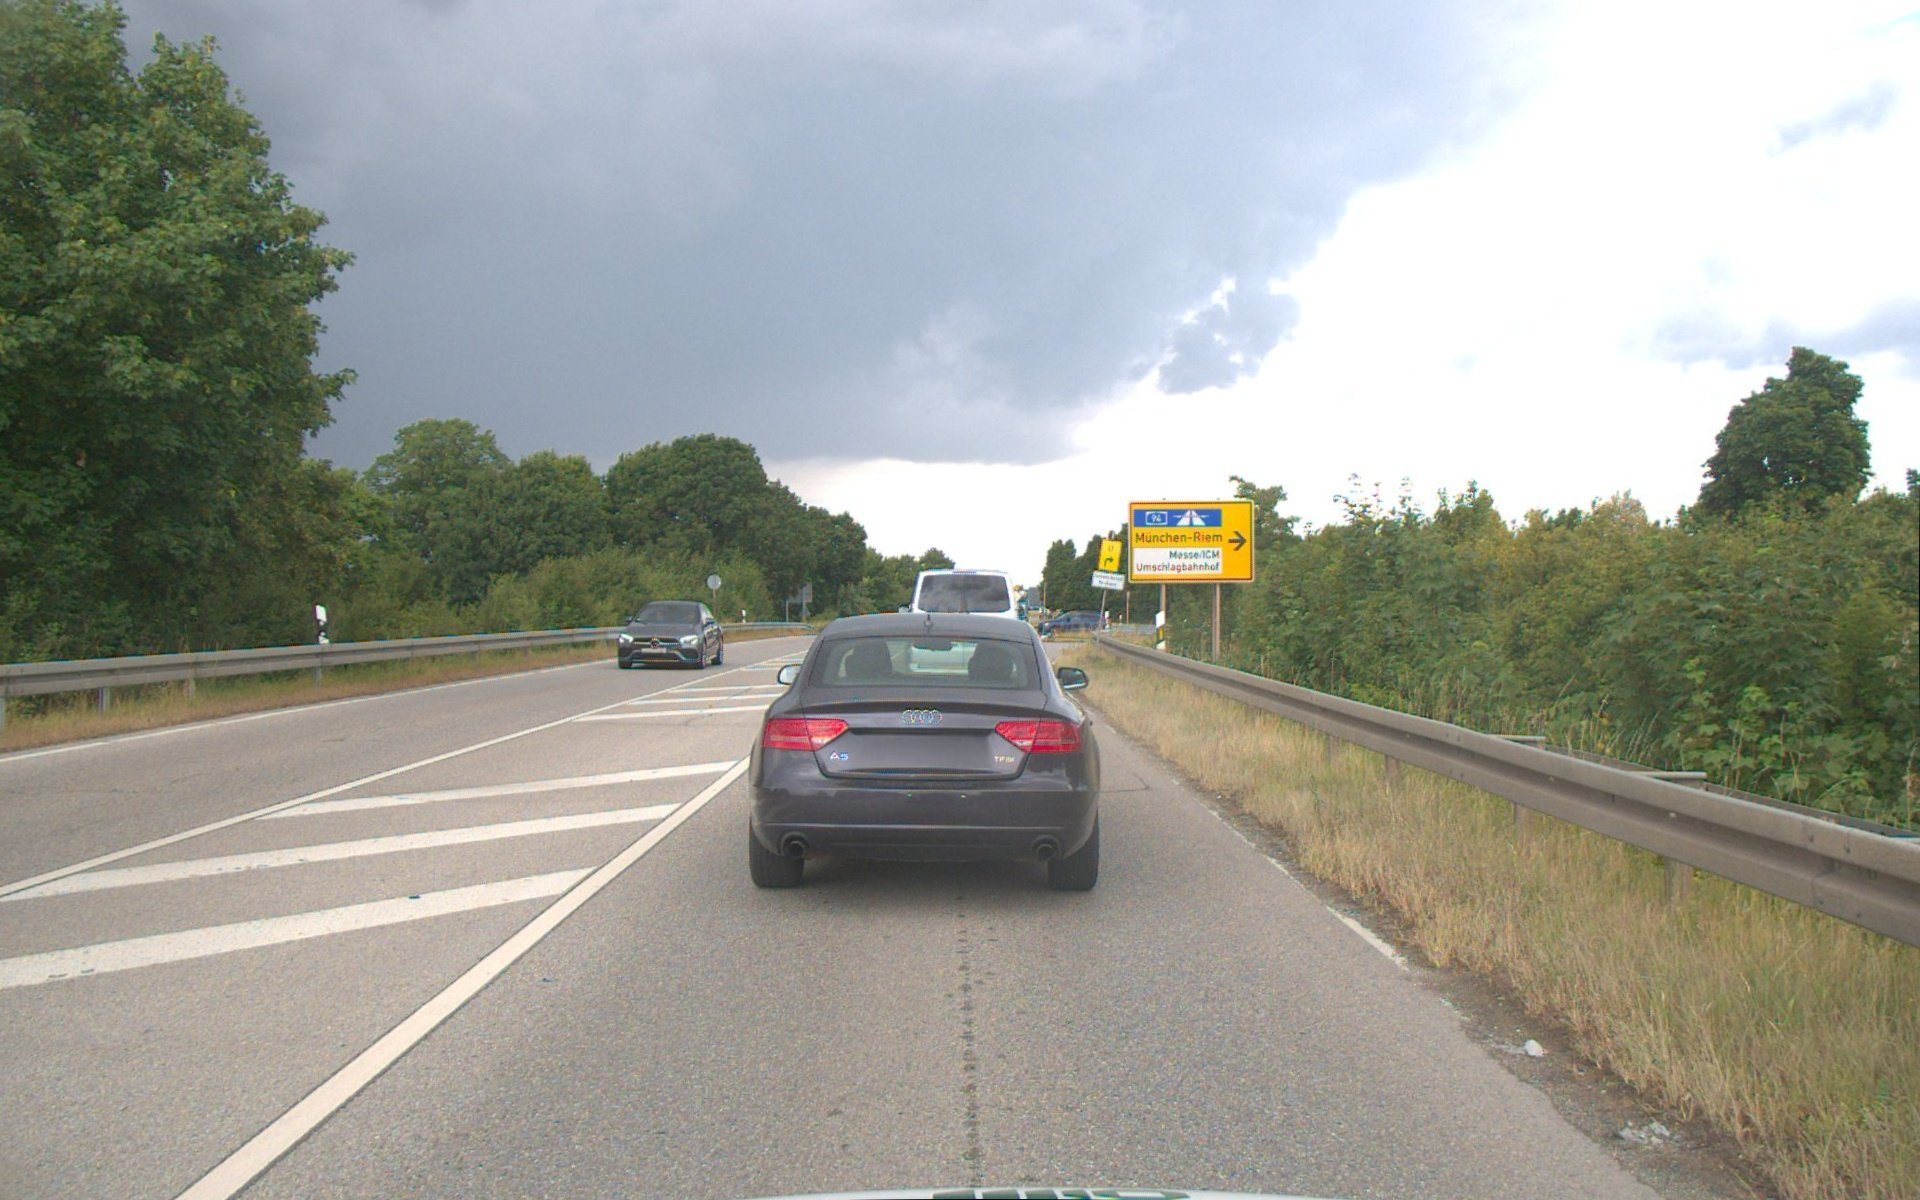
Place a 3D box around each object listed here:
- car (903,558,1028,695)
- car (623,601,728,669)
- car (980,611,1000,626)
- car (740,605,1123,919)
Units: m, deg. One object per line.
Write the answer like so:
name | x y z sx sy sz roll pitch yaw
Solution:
car | 0.064 0.401 27.143 1.871 2.049 3.999 1 0 -1
car | -6.217 0.733 36.527 1.589 1.403 4.511 0 0 -1
car | 3.457 2.109 188.794 2.161 1.610 4.378 1 0 -1
car | -0.151 0.751 9.217 1.743 1.423 3.335 0 0 -1
